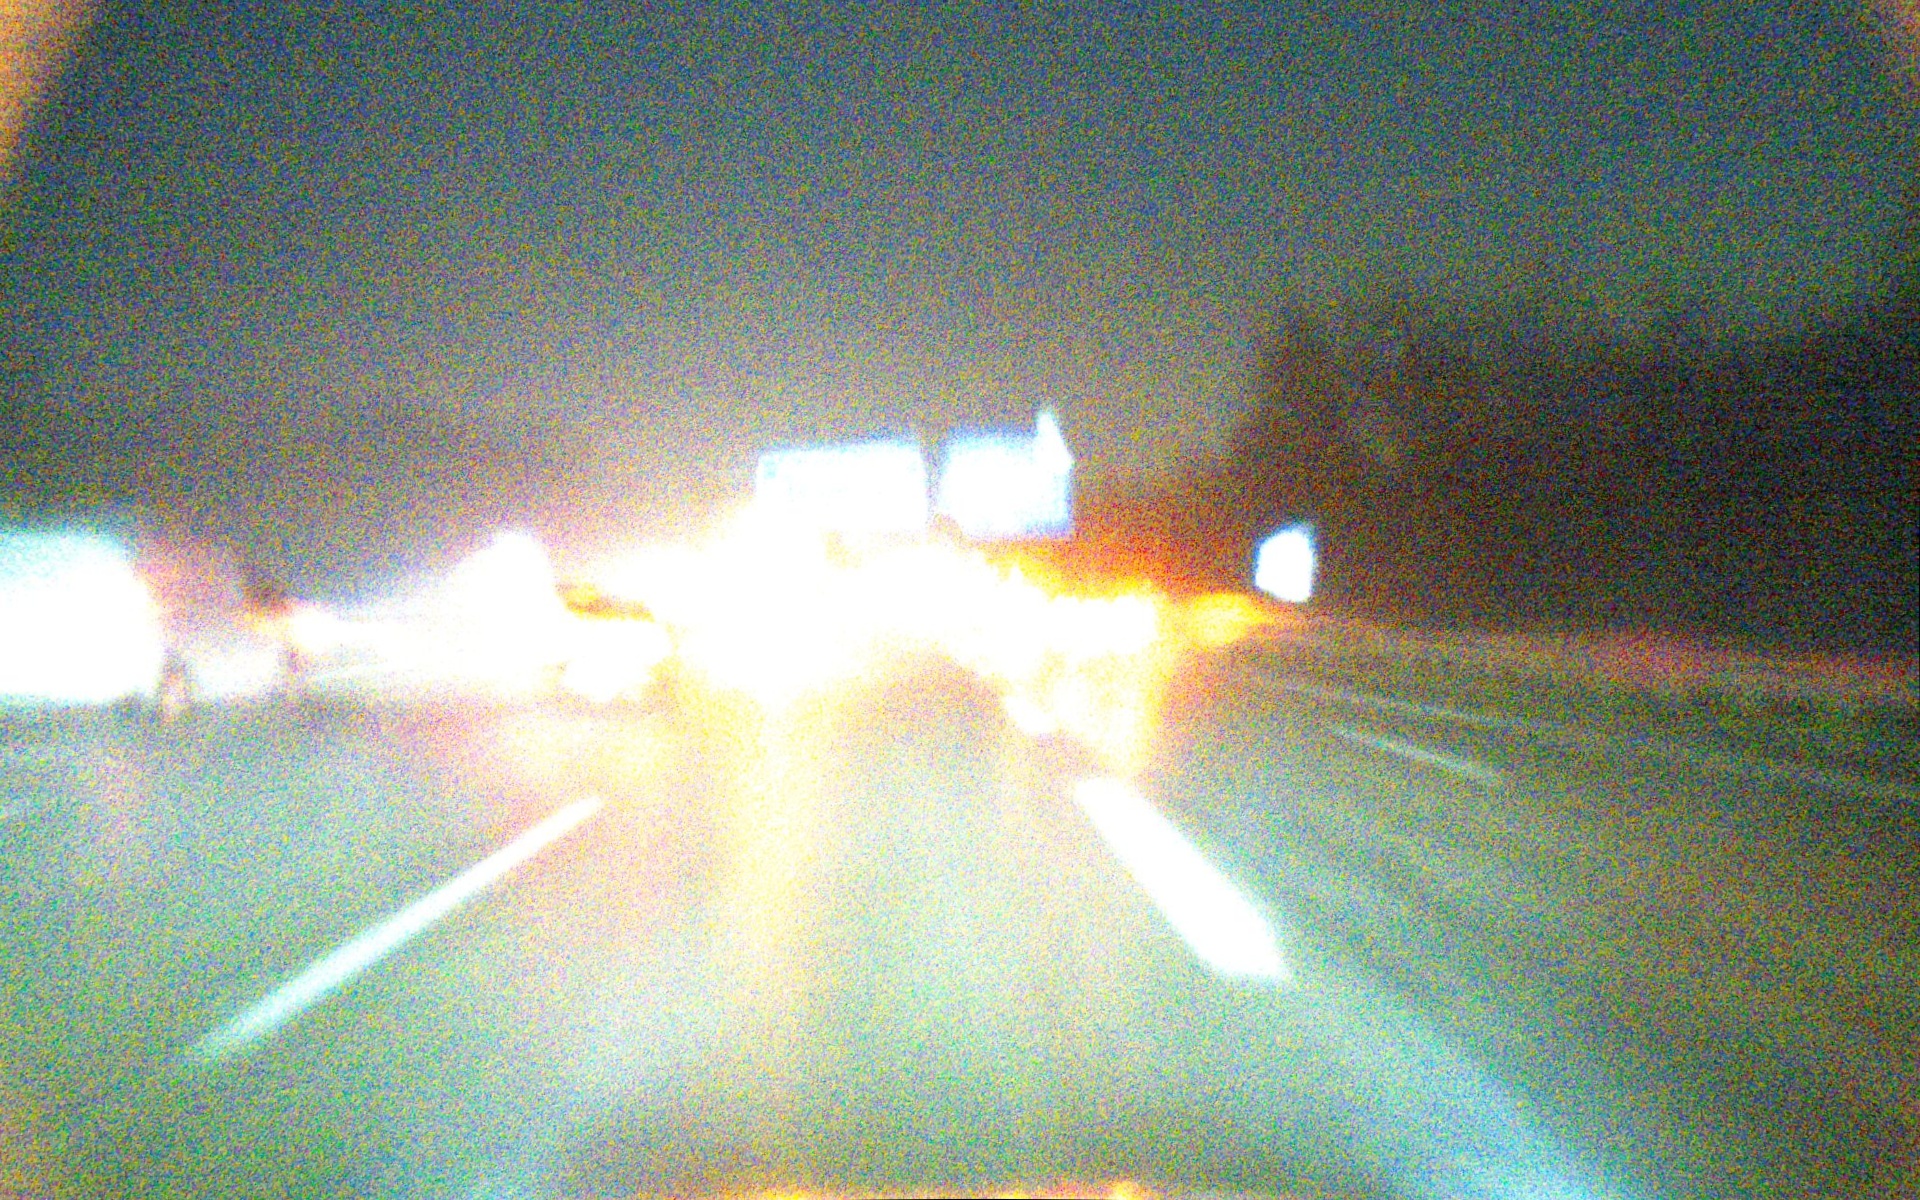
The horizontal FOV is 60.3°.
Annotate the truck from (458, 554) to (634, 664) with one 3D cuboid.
[{"bbox_3d":[-9.238,0.187,37.542,2.800,2.239,5.854,1,0,-4],"label":"truck"}]

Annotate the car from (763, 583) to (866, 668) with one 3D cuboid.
[{"bbox_3d":[-3.250,0.546,37.716,1.997,1.792,4.514,1,0,-1],"label":"car"}]

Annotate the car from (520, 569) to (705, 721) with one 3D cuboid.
[{"bbox_3d":[-4.270,0.488,20.877,1.731,1.718,3.997,1,1,-4],"label":"car"}]

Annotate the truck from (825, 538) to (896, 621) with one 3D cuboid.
[{"bbox_3d":[-6.976,-1.355,117.573,4.167,5.539,10.884,1,0,0],"label":"truck"}]

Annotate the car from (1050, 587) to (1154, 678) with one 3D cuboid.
[{"bbox_3d":[2.980,0.663,35.444,1.839,1.793,3.999,1,0,0],"label":"car"}]

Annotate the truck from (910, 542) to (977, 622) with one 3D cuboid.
[{"bbox_3d":[-1.269,-1.202,116.155,4.079,5.306,9.946,1,0,-4],"label":"truck"}]

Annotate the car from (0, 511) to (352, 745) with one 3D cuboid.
[{"bbox_3d":[-8.737,0.242,18.032,2.079,2.141,5.629,1,0,0],"label":"car"}]

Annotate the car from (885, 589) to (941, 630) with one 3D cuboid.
[{"bbox_3d":[-2.449,0.511,87.820,2.775,2.049,5.509,1,0,-1],"label":"car"}]

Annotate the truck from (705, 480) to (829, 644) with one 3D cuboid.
[{"bbox_3d":[-6.184,-1.130,54.247,3.585,4.820,9.842,1,0,-5],"label":"truck"}]

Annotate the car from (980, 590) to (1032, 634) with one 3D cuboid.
[{"bbox_3d":[1.873,0.493,68.675,1.953,1.733,4.457,1,0,-1],"label":"car"}]
